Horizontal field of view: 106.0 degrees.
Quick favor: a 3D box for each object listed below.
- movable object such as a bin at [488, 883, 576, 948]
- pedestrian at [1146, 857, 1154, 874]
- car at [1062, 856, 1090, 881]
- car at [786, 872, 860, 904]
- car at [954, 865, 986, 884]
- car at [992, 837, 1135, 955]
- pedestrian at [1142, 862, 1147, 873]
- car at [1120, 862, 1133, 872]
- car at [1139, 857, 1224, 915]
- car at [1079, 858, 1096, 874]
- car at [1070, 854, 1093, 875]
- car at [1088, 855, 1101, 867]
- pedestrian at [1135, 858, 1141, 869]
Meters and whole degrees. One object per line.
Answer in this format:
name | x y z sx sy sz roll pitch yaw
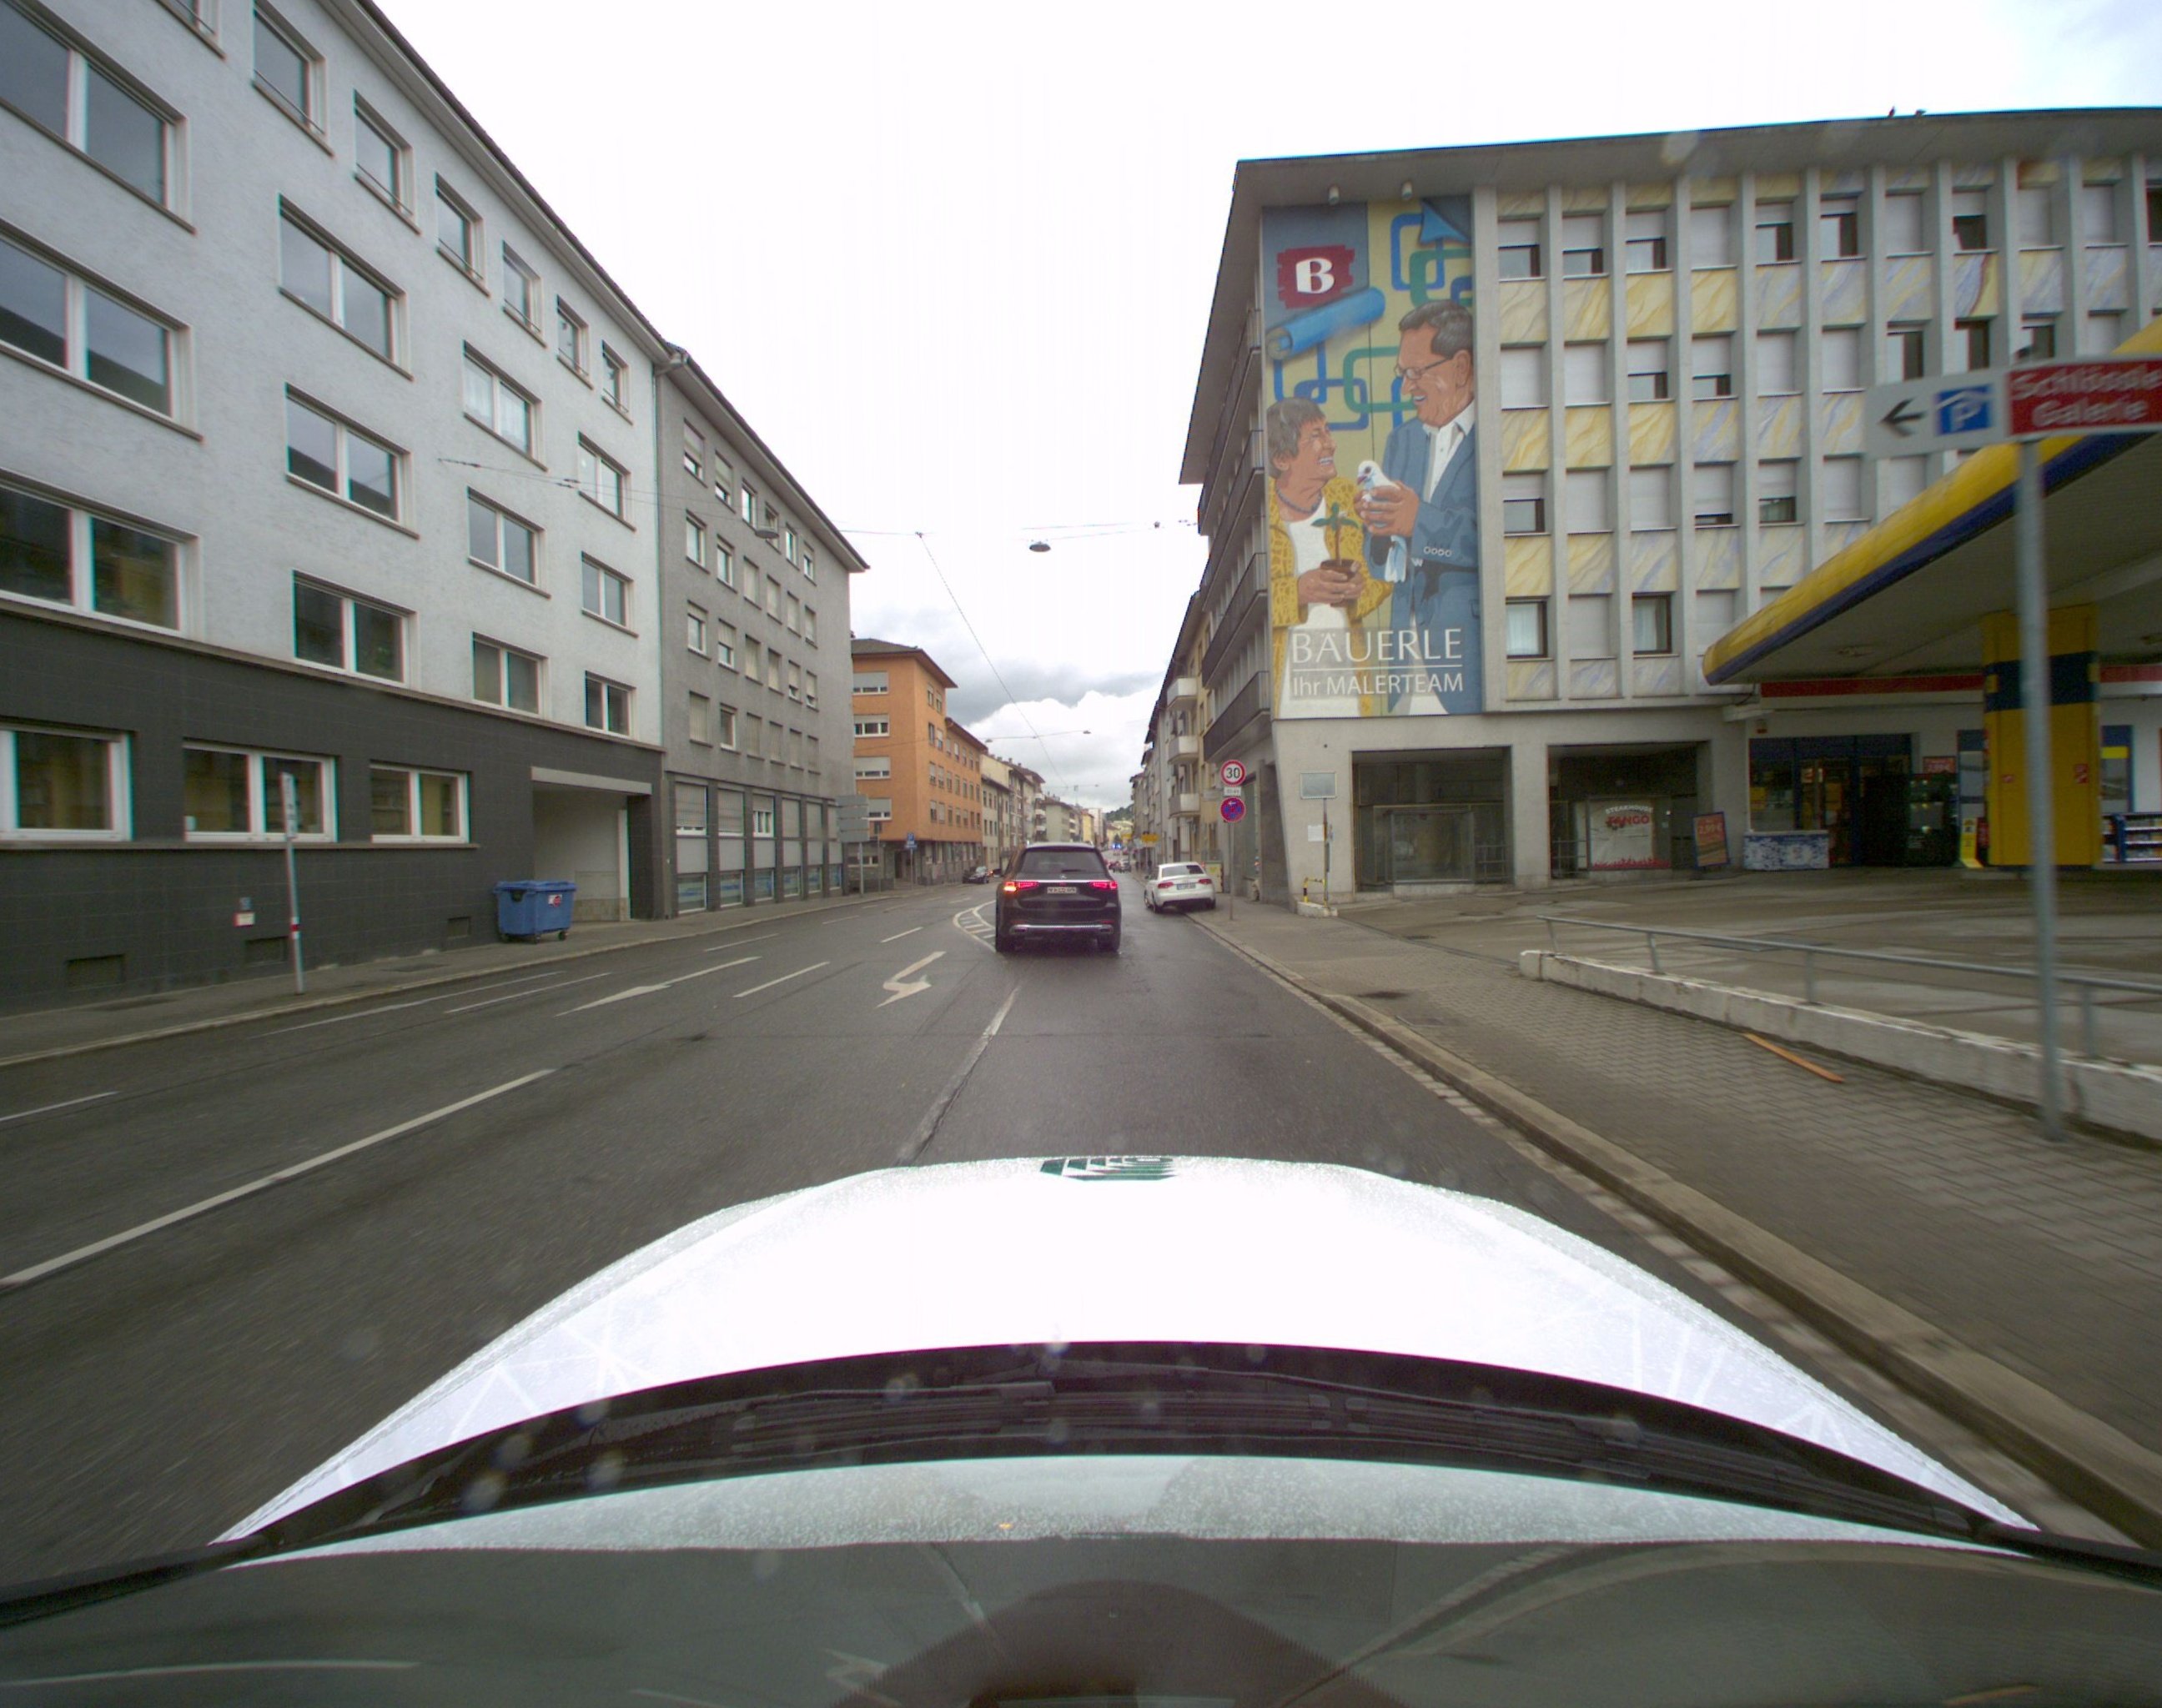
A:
movable object such as a bin | -11.844 1.311 17.618 1.072 1.324 1.191 0 0 2
pedestrian | 7.217 1.223 85.380 0.652 1.752 0.743 -3 -1 7
car | -0.400 1.207 68.097 1.984 2.013 4.005 0 0 4
car | -16.570 2.191 52.511 3.972 1.652 1.931 -5 0 2
car | -8.695 1.586 64.147 1.885 1.458 4.549 0 0 0
car | -0.497 0.615 14.581 2.074 1.765 4.599 0 0 -8
pedestrian | 9.048 1.861 116.193 0.817 1.565 0.901 0 0 5
car | 6.524 1.838 116.720 1.728 1.388 4.583 0 0 1
car | 2.958 0.900 24.915 1.887 1.402 4.607 -6 0 0
car | 0.879 1.516 105.483 1.984 2.013 4.005 0 0 4
car | 0.066 0.991 80.042 1.984 2.013 4.005 0 0 4
car | 2.367 1.161 138.098 1.984 2.013 4.005 0 0 4
pedestrian | 8.176 1.324 116.267 0.817 1.565 0.901 0 0 5
